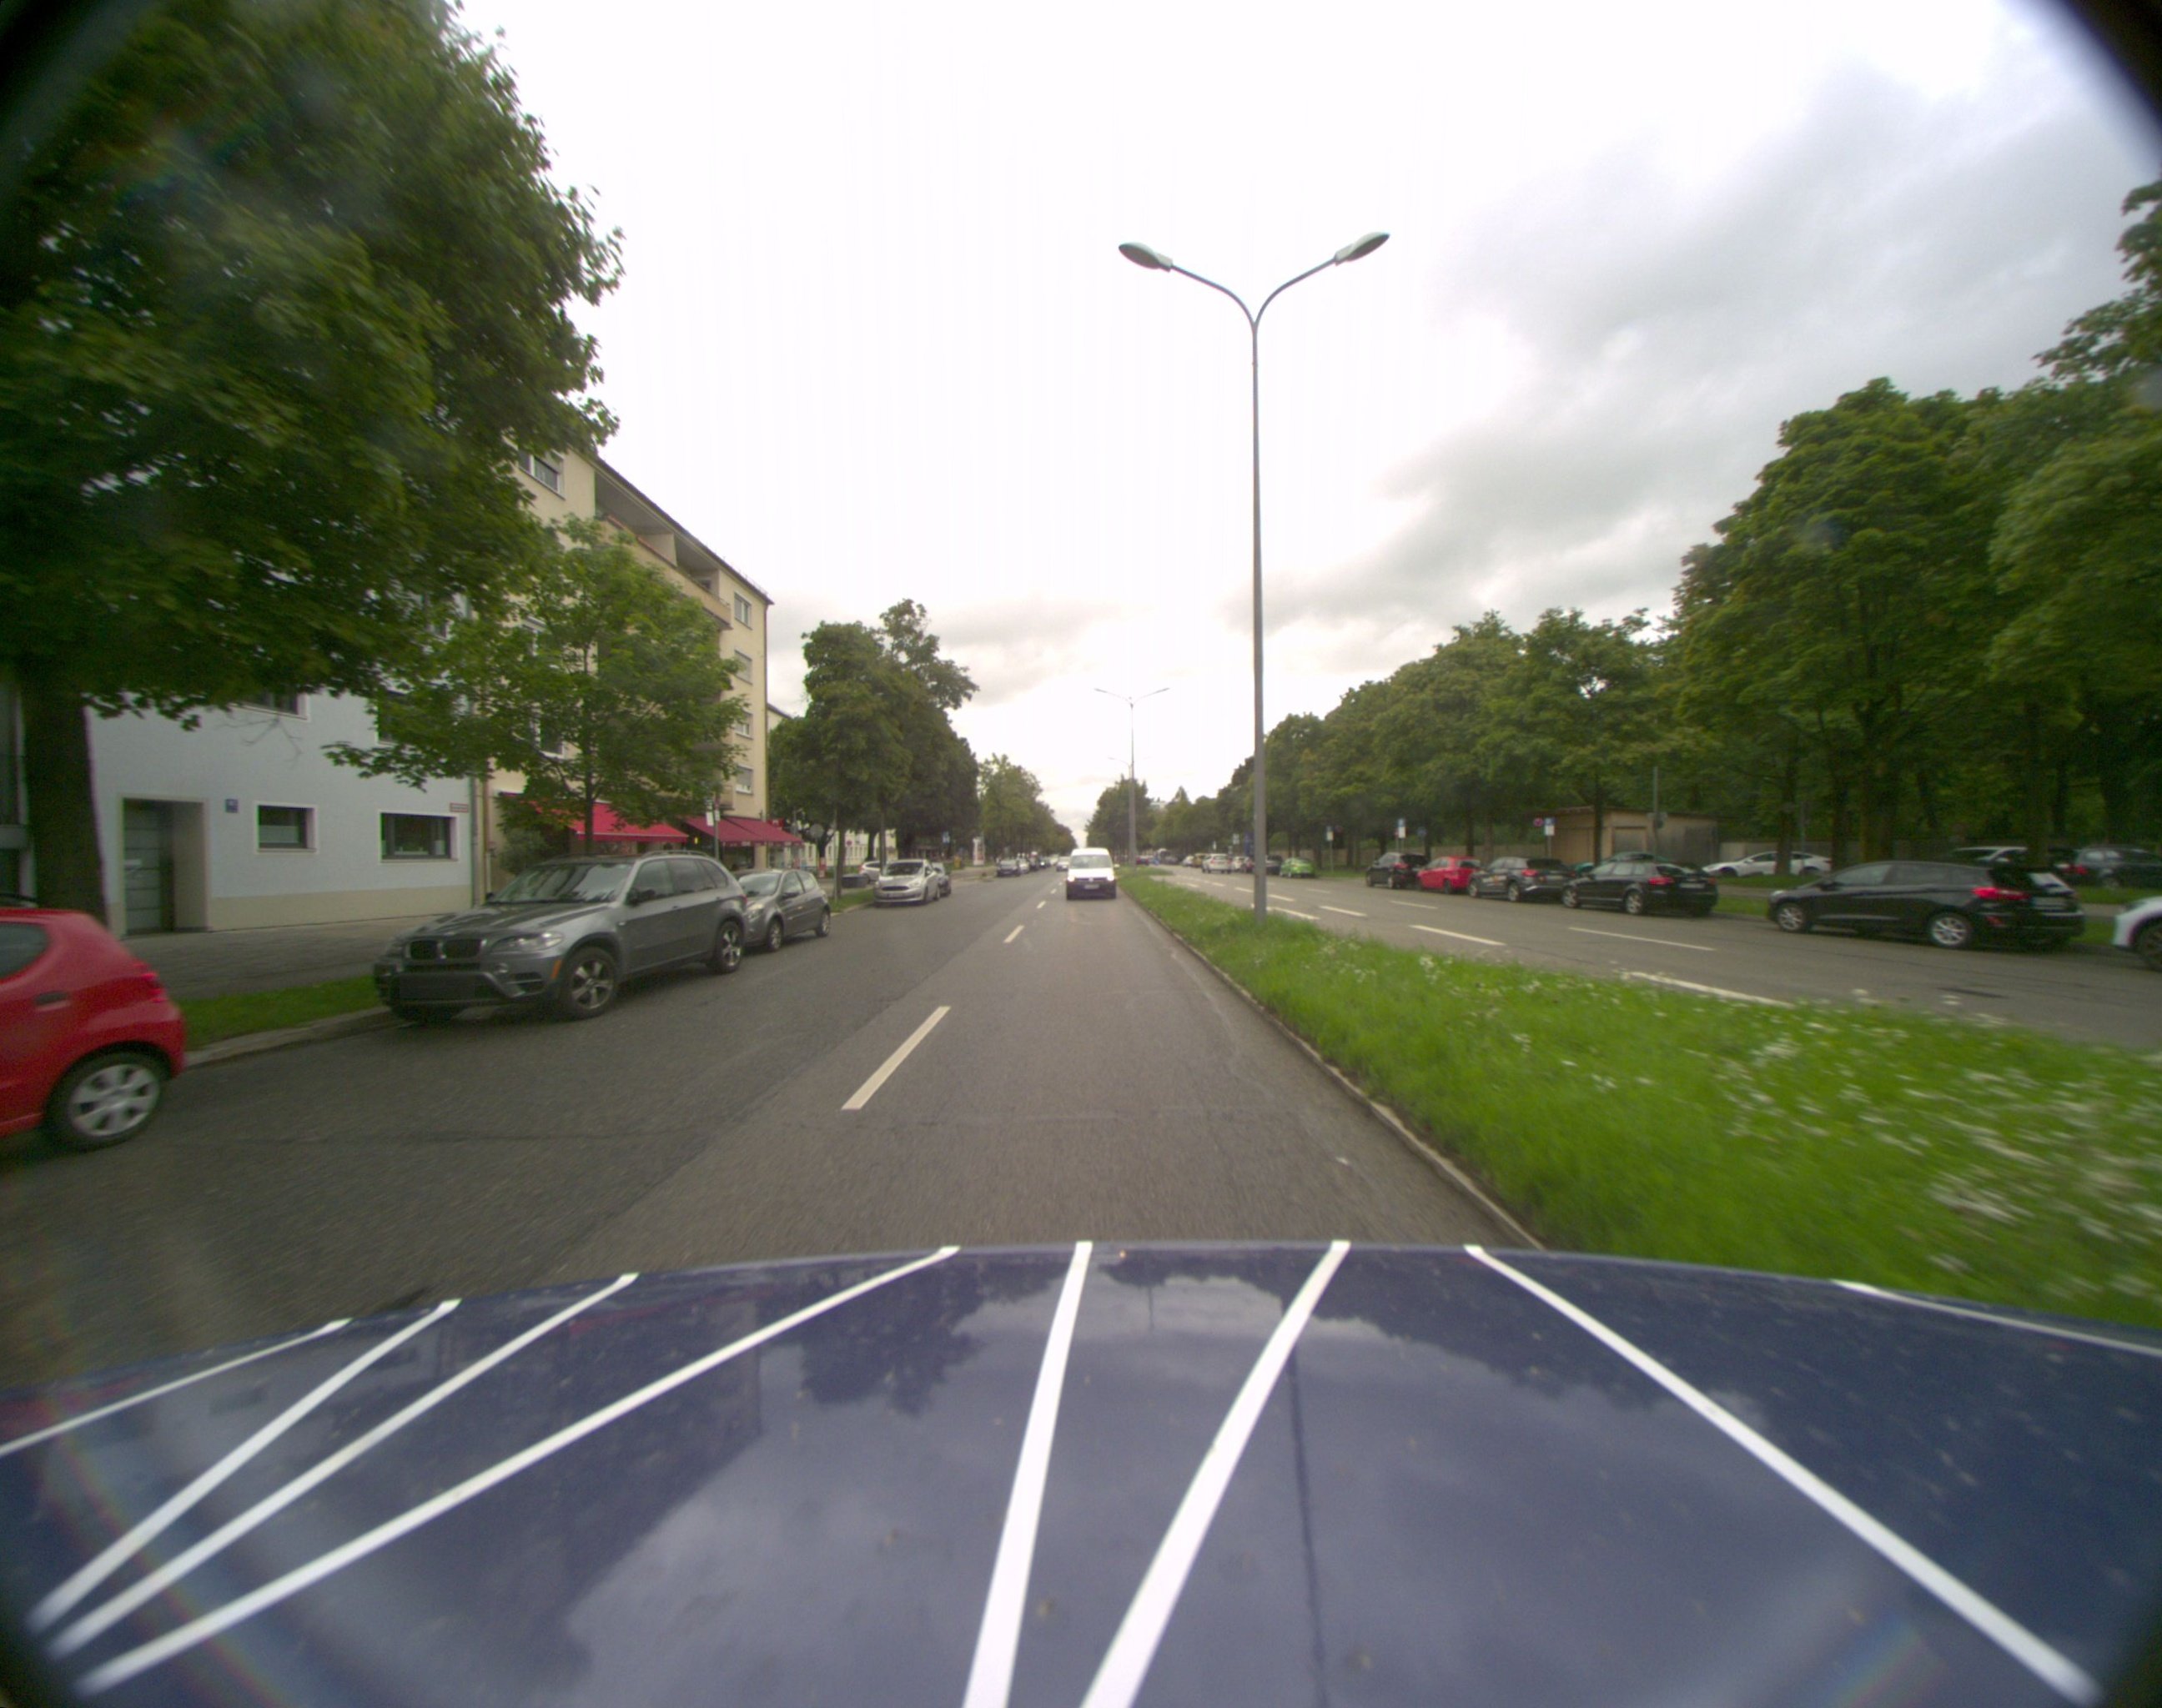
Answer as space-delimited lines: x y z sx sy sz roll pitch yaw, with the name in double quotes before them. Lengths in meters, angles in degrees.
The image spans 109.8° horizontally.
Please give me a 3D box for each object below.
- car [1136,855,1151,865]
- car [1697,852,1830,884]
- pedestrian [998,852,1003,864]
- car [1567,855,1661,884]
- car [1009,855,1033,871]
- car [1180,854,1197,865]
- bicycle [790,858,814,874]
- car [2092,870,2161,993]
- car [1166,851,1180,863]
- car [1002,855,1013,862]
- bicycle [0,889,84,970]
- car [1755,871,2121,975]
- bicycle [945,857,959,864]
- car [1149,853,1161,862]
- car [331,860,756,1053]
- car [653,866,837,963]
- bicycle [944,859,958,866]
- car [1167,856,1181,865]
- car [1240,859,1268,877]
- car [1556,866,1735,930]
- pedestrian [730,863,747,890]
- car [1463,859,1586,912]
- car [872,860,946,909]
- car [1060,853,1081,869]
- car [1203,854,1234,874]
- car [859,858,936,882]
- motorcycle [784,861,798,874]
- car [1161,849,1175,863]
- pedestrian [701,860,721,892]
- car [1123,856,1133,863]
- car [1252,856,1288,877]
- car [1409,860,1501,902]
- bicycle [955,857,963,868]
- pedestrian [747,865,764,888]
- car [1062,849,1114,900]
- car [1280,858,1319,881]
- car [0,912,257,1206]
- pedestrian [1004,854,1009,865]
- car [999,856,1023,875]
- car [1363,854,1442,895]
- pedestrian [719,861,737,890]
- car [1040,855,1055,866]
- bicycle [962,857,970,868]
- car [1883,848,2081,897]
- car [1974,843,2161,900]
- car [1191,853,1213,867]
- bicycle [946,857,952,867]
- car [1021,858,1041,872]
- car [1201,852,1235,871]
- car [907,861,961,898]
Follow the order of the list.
"car" 9.352 0.883 113.887 1.820 1.440 4.782 0 0 0
"car" 32.267 0.649 36.099 4.456 1.401 1.863 0 1 33
"pedestrian" -11.650 0.552 110.005 0.560 1.745 0.656 -1 1 -19
"car" 27.267 0.791 39.046 3.848 1.401 1.863 -1 0 31
"car" -5.780 0.843 73.471 1.826 1.428 4.287 -3 0 1
"car" 15.027 0.798 106.205 1.717 1.434 4.041 1 0 -2
"bicycle" -20.641 0.902 56.177 1.473 1.149 0.699 -1 1 -1
"car" 14.540 1.038 8.054 1.826 1.519 4.298 1 1 -1
"car" 15.990 0.450 132.346 1.998 2.002 4.000 -1 0 0
"car" -15.005 0.917 154.762 1.827 1.460 4.300 0 0 1
"bicycle" -15.199 1.064 10.222 0.623 1.040 2.195 3 0 1
"car" 14.589 1.085 13.358 1.826 1.439 3.999 1 0 -2
"bicycle" -16.265 0.819 95.747 1.599 0.910 0.498 1 0 -4
"car" 12.878 0.670 132.705 1.826 1.544 3.721 -1 0 2
"car" -5.978 0.981 9.330 1.833 1.736 4.509 -1 0 3
"car" -6.173 1.029 14.476 1.834 1.513 3.770 -1 0 -1
"bicycle" -15.921 1.025 93.286 1.599 0.910 0.498 -1 1 -4
"car" 15.549 1.039 127.570 1.717 1.401 4.041 1 0 -2
"car" 15.282 1.218 67.185 1.654 1.414 3.687 2 0 1
"car" 14.618 1.080 20.003 1.825 1.401 4.001 1 0 3
"pedestrian" -15.472 1.006 34.318 0.539 1.207 0.487 -1 1 1
"car" 14.646 0.975 25.370 1.826 1.590 4.113 0 0 2
"car" -6.093 1.022 27.455 1.834 1.513 4.522 -2 0 -3
"car" -1.094 0.740 80.207 1.984 1.591 4.402 2 0 1
"car" 11.676 0.832 64.668 1.855 1.591 4.402 2 0 1
"car" -11.431 1.004 47.399 4.214 1.433 2.002 -1 0 15
"motorcycle" -27.641 1.280 72.423 0.606 1.113 1.622 -1 0 1
"car" 16.056 0.331 140.178 1.999 2.576 4.499 1 0 -2
"pedestrian" -15.637 0.924 32.113 0.539 1.331 0.552 -1 1 0
"car" 10.016 1.149 161.481 1.826 1.580 4.501 -1 0 1
"car" 15.194 1.002 61.253 1.826 1.621 4.456 0 0 0
"car" 14.992 1.033 30.705 1.826 1.471 3.809 -1 1 -1
"bicycle" -13.930 0.958 86.985 0.545 1.182 2.076 -1 0 1
"pedestrian" -15.362 1.069 35.880 0.539 1.048 0.487 -1 1 1
"car" 0.267 0.726 29.169 1.772 1.742 4.546 -3 0 0
"car" 15.105 1.033 52.781 1.644 1.490 4.000 1 0 2
"car" -6.380 1.129 3.191 1.525 1.433 3.999 -1 0 -2
"pedestrian" -10.764 0.797 110.219 0.560 1.595 0.519 -1 1 -19
"car" -5.749 0.954 62.624 1.648 1.468 3.956 -1 0 -1
"car" 14.773 0.889 35.195 1.826 1.690 4.238 -1 1 -1
"pedestrian" -15.463 0.947 33.332 0.539 1.260 0.487 -1 1 0
"car" -4.430 0.828 99.797 1.827 1.371 4.300 -1 0 -1
"bicycle" -13.031 0.943 86.118 0.545 1.182 2.076 -1 0 1
"car" 27.949 0.548 23.673 3.998 1.433 1.999 -1 0 -4
"car" 27.500 0.435 20.668 4.146 1.433 2.000 -1 0 -2
"car" 15.269 0.743 96.013 1.862 1.761 4.533 1 0 -2
"bicycle" -15.150 0.899 87.340 0.466 1.110 1.253 -1 0 1
"car" -5.395 1.166 82.850 1.826 1.502 4.157 -1 0 0
"car" 11.662 0.620 64.959 2.030 1.610 4.683 1 0 1
"car" -6.289 1.052 32.834 1.834 1.464 3.886 -1 0 -4
